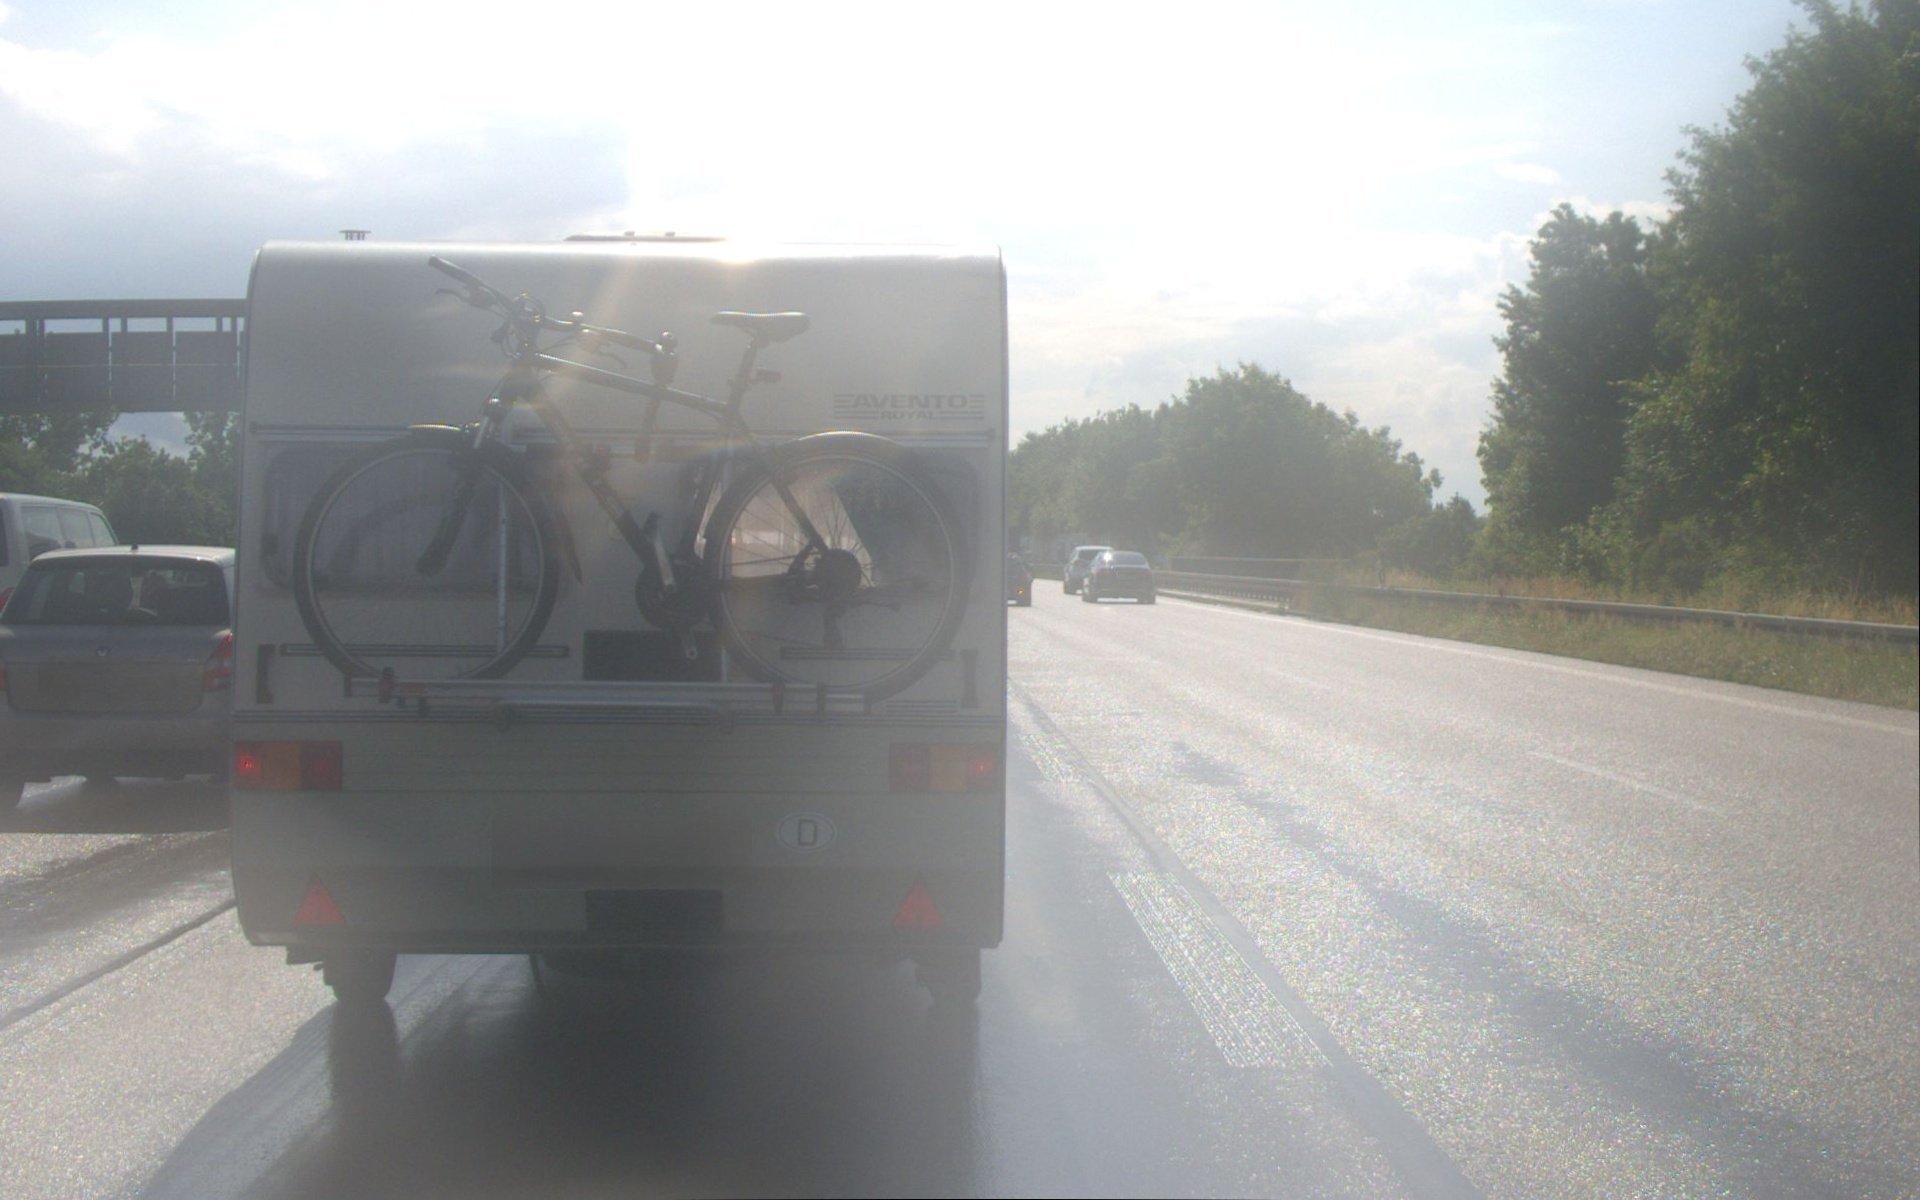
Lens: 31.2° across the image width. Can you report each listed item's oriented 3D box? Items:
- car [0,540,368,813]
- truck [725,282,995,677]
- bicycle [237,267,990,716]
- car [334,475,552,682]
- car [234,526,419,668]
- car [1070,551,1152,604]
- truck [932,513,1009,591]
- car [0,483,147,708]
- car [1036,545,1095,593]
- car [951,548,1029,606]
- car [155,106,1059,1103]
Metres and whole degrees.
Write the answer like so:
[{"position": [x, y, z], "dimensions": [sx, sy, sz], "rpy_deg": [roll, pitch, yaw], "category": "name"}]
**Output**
[{"position": [-4.826, 0.377, 20.367], "dimensions": [1.987, 1.453, 3.827], "rpy_deg": [0, 1, 0], "category": "car"}, {"position": [-1.354, -1.491, 45.712], "dimensions": [3.146, 4.610, 10.737], "rpy_deg": [0, 1, -2], "category": "truck"}, {"position": [-0.896, -0.283, 9.083], "dimensions": [1.934, 1.137, 0.384], "rpy_deg": [1, 0, 1], "category": "bicycle"}, {"position": [-5.299, -0.234, 35.670], "dimensions": [1.876, 2.007, 4.001], "rpy_deg": [1, 1, -3], "category": "car"}, {"position": [-7.816, -0.061, 42.739], "dimensions": [1.771, 1.656, 4.001], "rpy_deg": [1, 1, -3], "category": "car"}, {"position": [4.373, -0.670, 100.200], "dimensions": [1.876, 1.489, 4.001], "rpy_deg": [1, 1, -5], "category": "car"}, {"position": [0.319, -1.558, 111.013], "dimensions": [2.415, 2.435, 6.053], "rpy_deg": [0, 1, 0], "category": "truck"}, {"position": [-9.012, -0.090, 31.949], "dimensions": [1.848, 1.927, 5.017], "rpy_deg": [0, 1, -2], "category": "car"}, {"position": [3.614, -1.067, 118.441], "dimensions": [1.876, 1.623, 4.000], "rpy_deg": [1, 1, 0], "category": "car"}, {"position": [0.798, -0.640, 93.883], "dimensions": [1.835, 1.552, 4.001], "rpy_deg": [1, 1, -3], "category": "car"}, {"position": [-0.963, -0.009, 11.289], "dimensions": [2.410, 2.665, 4.000], "rpy_deg": [1, 1, 0], "category": "car"}]
